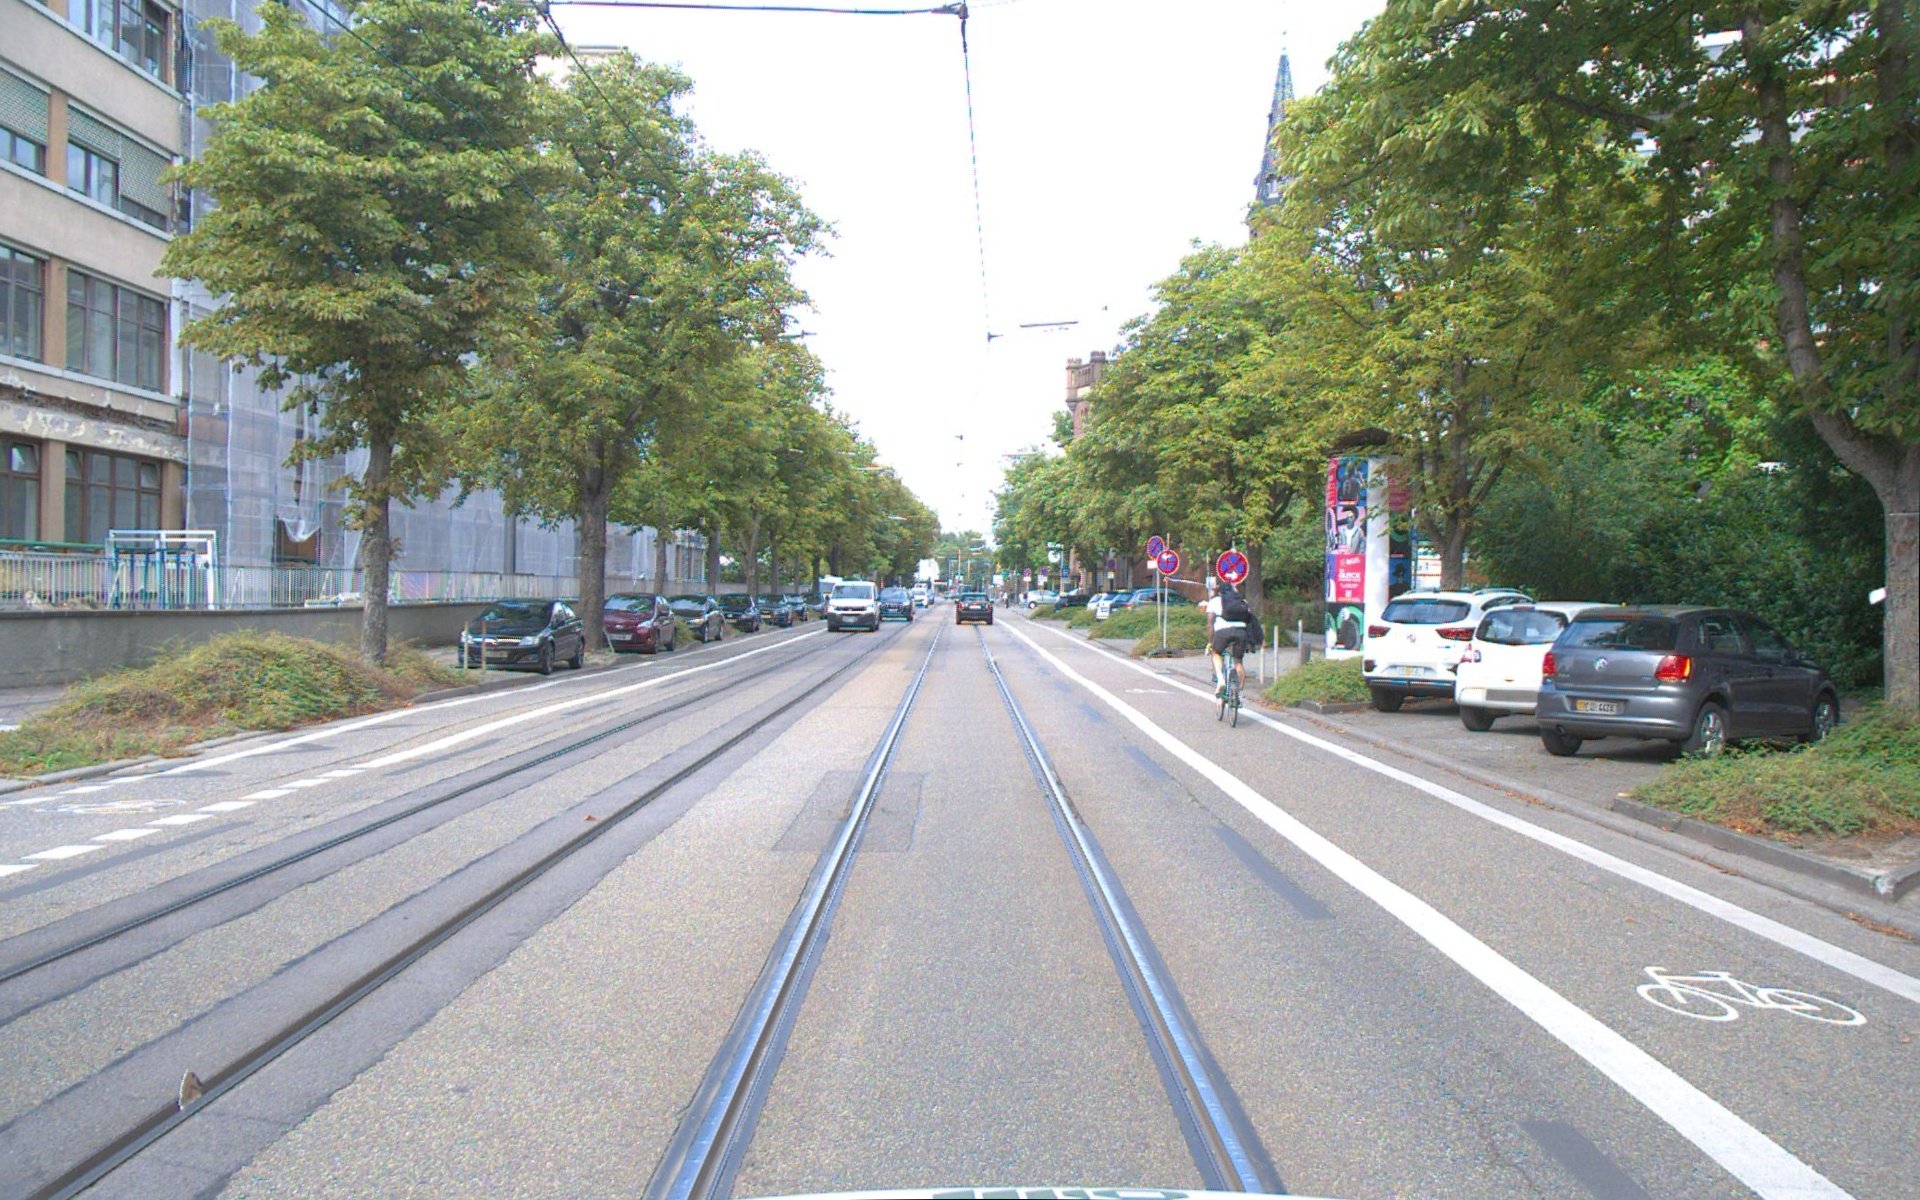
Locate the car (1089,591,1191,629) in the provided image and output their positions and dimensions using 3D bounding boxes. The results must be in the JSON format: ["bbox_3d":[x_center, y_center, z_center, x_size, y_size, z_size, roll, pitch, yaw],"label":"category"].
[{"bbox_3d":[7.394,0.404,68.041,3.907,1.449,1.884,1,0,-3],"label":"car"}]

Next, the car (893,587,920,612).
[{"bbox_3d":[-3.574,-0.043,111.116,1.766,1.650,4.484,0,0,-1],"label":"car"}]

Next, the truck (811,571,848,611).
[{"bbox_3d":[-8.345,-0.559,106.013,2.029,2.513,4.898,0,0,-1],"label":"truck"}]

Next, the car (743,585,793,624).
[{"bbox_3d":[-8.388,0.182,72.584,1.766,1.611,4.030,0,0,-1],"label":"car"}]

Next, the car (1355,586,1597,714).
[{"bbox_3d":[7.065,0.636,22.525,3.414,1.600,1.538,1,0,-39],"label":"car"}]

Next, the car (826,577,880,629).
[{"bbox_3d":[-3.965,0.105,61.869,1.766,1.855,4.484,0,0,-1],"label":"car"}]

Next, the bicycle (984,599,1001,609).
[{"bbox_3d":[3.290,0.379,167.226,1.684,1.009,0.659,2,0,8],"label":"bicycle"}]

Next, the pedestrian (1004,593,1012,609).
[{"bbox_3d":[4.867,0.096,167.158,0.711,1.674,0.767,2,0,10],"label":"pedestrian"}]

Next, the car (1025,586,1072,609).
[{"bbox_3d":[7.762,-0.220,145.262,3.907,1.944,1.999,2,0,-3],"label":"car"}]

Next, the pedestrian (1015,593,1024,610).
[{"bbox_3d":[6.002,0.136,166.295,0.711,1.674,0.767,2,0,10],"label":"pedestrian"}]

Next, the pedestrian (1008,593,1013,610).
[{"bbox_3d":[6.143,0.226,202.120,0.507,2.049,0.480,1,0,3],"label":"pedestrian"}]

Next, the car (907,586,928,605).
[{"bbox_3d":[-3.796,-0.399,147.945,1.766,1.650,4.484,0,0,-1],"label":"car"}]

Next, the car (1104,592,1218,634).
[{"bbox_3d":[7.397,0.472,61.140,3.907,1.449,1.884,1,0,-3],"label":"car"}]

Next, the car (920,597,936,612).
[{"bbox_3d":[-3.658,0.496,187.295,1.766,1.650,4.484,0,0,-1],"label":"car"}]

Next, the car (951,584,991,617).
[{"bbox_3d":[0.506,0.019,76.833,1.757,1.448,3.999,1,0,-1],"label":"car"}]

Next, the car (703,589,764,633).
[{"bbox_3d":[-8.497,0.399,62.348,1.766,1.611,4.030,0,0,-1],"label":"car"}]

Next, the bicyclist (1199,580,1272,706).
[{"bbox_3d":[3.376,0.512,20.329,0.644,1.489,1.178,1,0,-1],"label":"bicyclist"}]

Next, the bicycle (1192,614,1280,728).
[{"bbox_3d":[3.361,0.837,20.298,0.644,1.270,2.124,1,0,-1],"label":"bicycle"}]

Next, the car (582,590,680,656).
[{"bbox_3d":[-8.432,0.562,42.744,1.766,1.611,4.030,0,0,-1],"label":"car"}]

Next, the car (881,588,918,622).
[{"bbox_3d":[-3.049,0.232,83.730,1.766,1.650,4.484,0,0,-1],"label":"car"}]

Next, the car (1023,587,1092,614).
[{"bbox_3d":[5.836,0.012,99.066,3.907,1.534,1.884,1,0,-3],"label":"car"}]

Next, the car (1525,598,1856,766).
[{"bbox_3d":[7.278,0.737,16.376,3.501,1.468,1.601,1,0,-39],"label":"car"}]

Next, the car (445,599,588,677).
[{"bbox_3d":[-8.586,0.689,32.350,1.766,1.398,4.030,0,0,-1],"label":"car"}]

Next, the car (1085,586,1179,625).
[{"bbox_3d":[7.615,0.254,73.447,3.907,1.656,1.884,1,0,-3],"label":"car"}]

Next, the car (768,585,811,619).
[{"bbox_3d":[-8.444,0.097,82.332,1.766,1.611,4.030,0,0,-1],"label":"car"}]

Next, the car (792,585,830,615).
[{"bbox_3d":[-8.347,-0.006,92.950,1.766,1.611,4.030,0,0,-1],"label":"car"}]

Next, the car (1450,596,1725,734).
[{"bbox_3d":[7.415,0.709,19.428,3.414,1.468,1.538,1,0,-39],"label":"car"}]

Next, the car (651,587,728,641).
[{"bbox_3d":[-8.396,0.400,51.615,1.766,1.611,4.030,0,0,-1],"label":"car"}]
